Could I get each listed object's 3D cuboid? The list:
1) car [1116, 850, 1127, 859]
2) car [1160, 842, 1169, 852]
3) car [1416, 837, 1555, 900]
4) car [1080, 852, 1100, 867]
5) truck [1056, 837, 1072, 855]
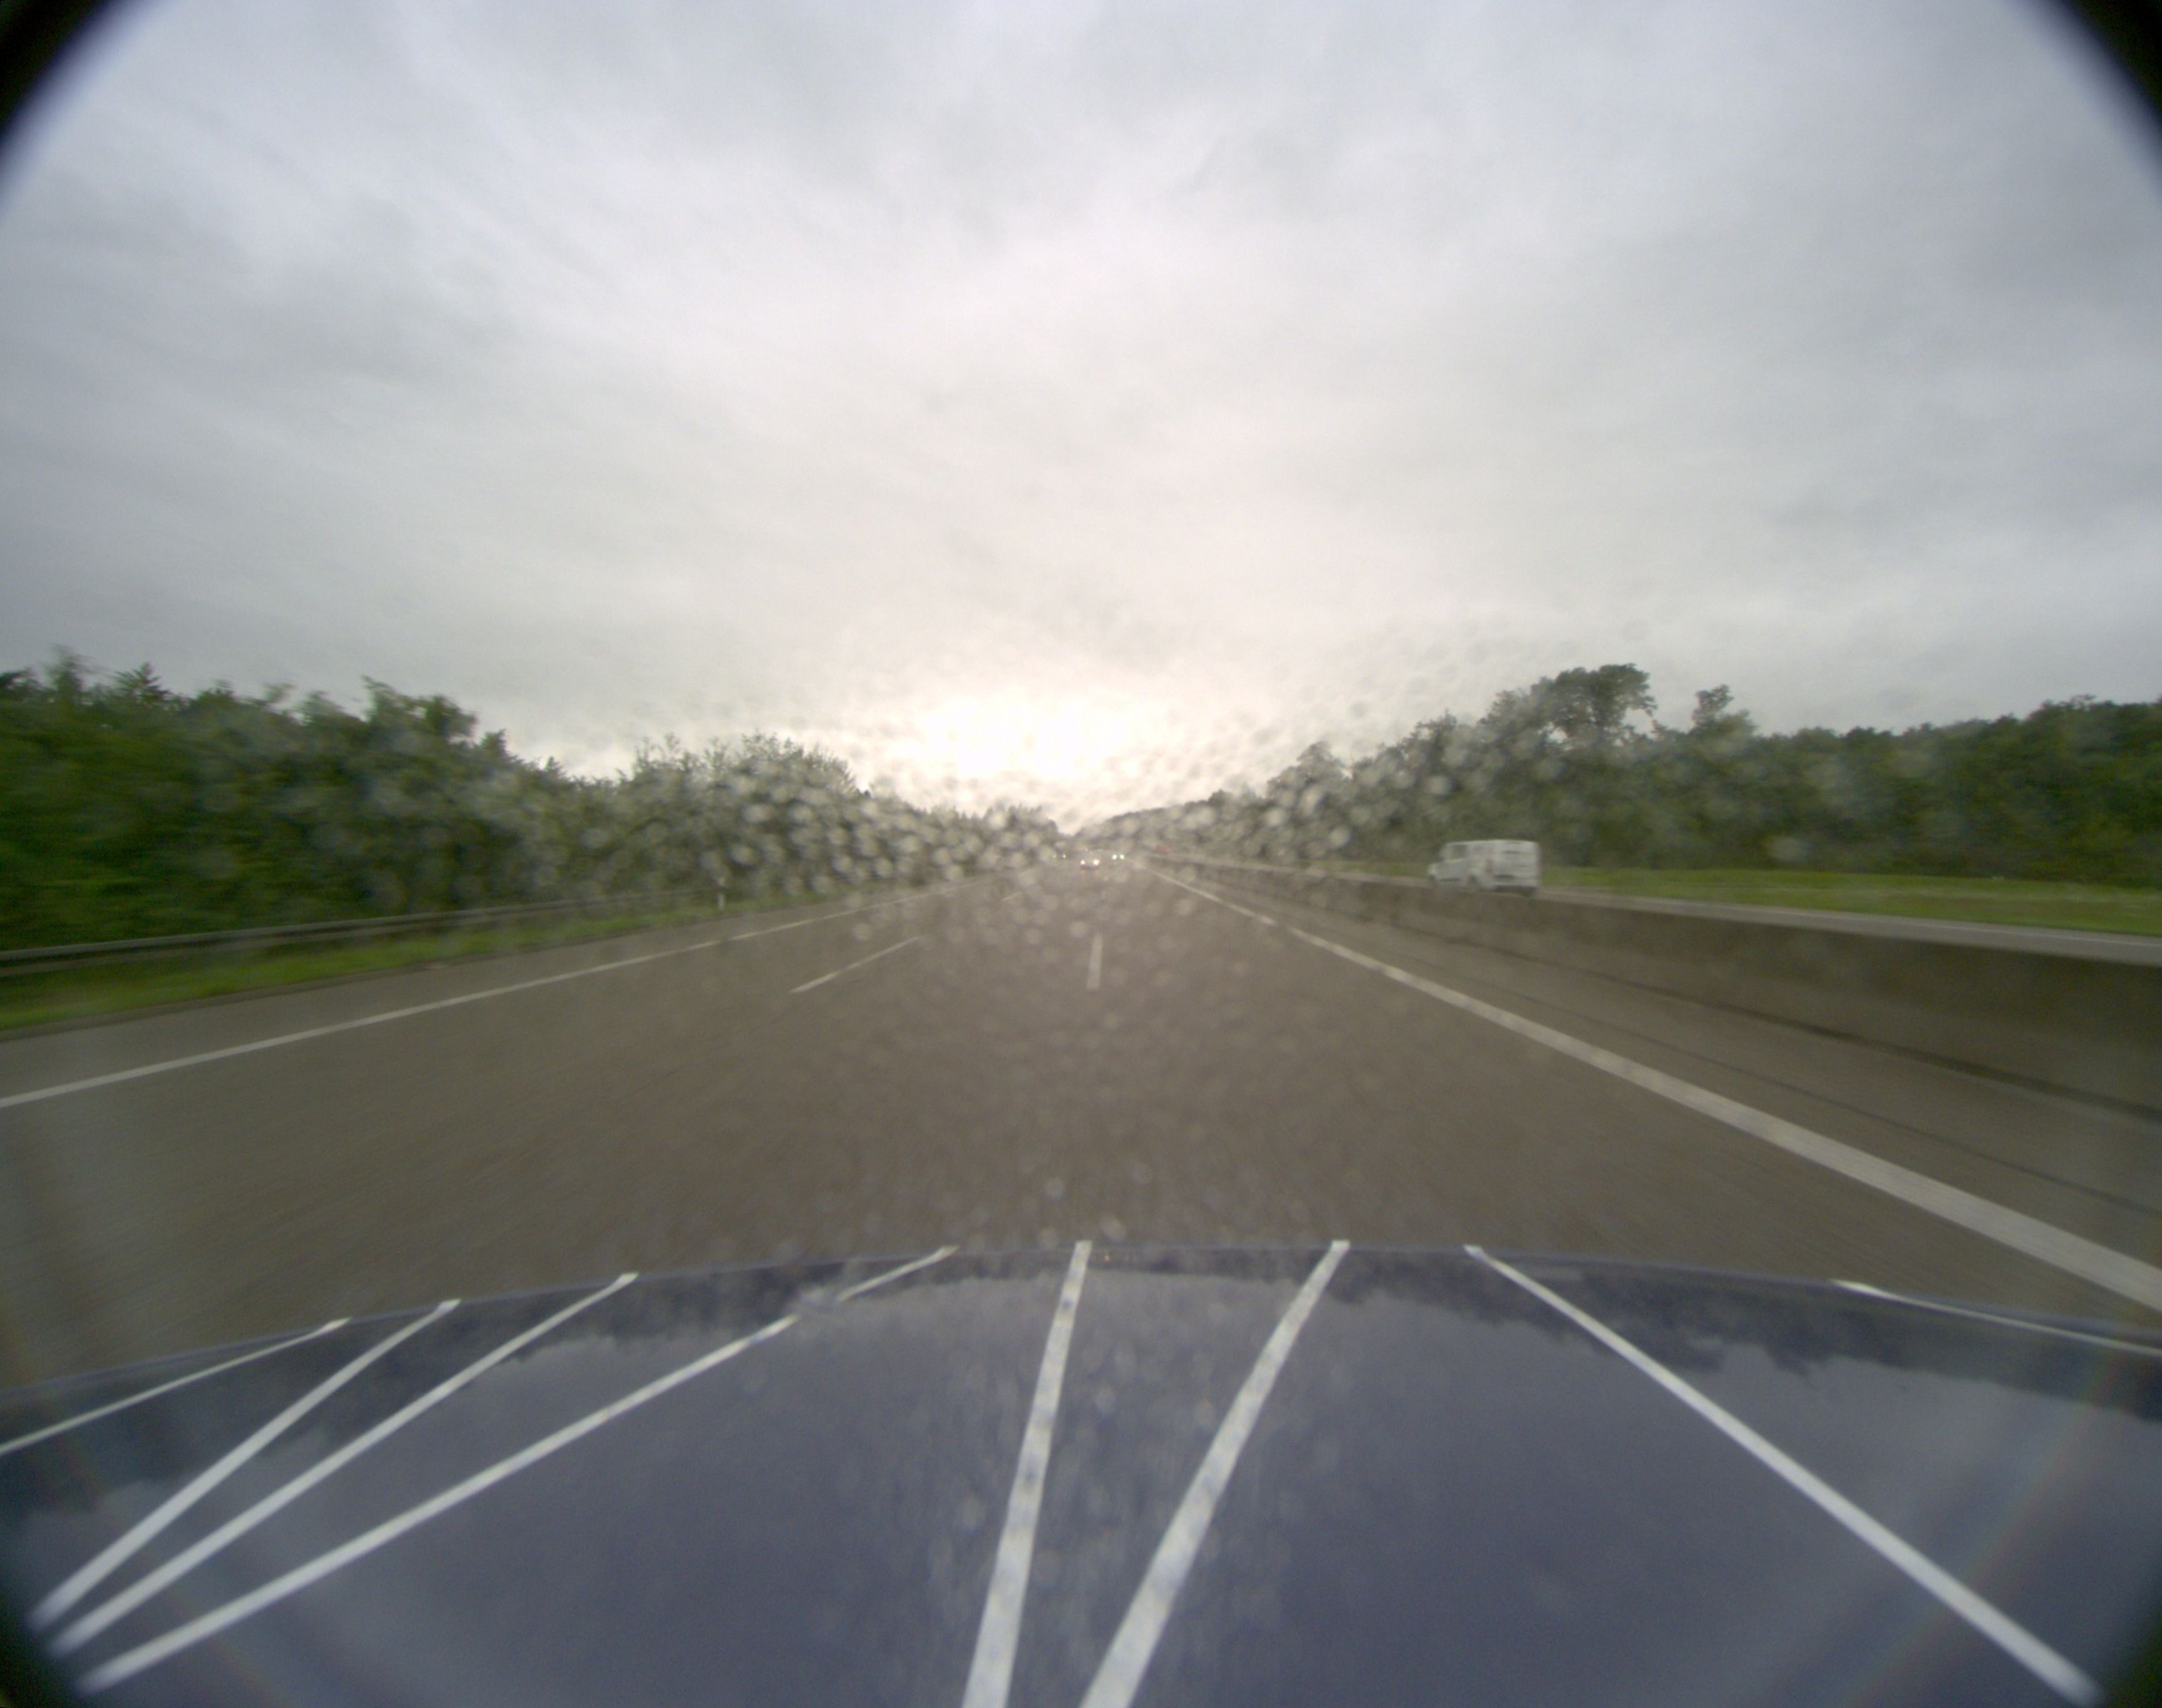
[{"bbox_3d":[7.116,0.036,132.994,2.009,1.455,4.001,0,1,4],"label":"car"},{"bbox_3d":[25.485,-2.123,230.934,2.185,3.025,5.975,-1,1,2],"label":"car"},{"bbox_3d":[14.546,0.465,27.801,1.998,2.002,5.761,2,0,0],"label":"car"},{"bbox_3d":[0.962,0.560,76.937,1.932,1.521,4.298,0,-1,2],"label":"car"},{"bbox_3d":[-3.933,-1.950,178.491,3.243,3.873,12.025,-1,1,1],"label":"truck"}]
